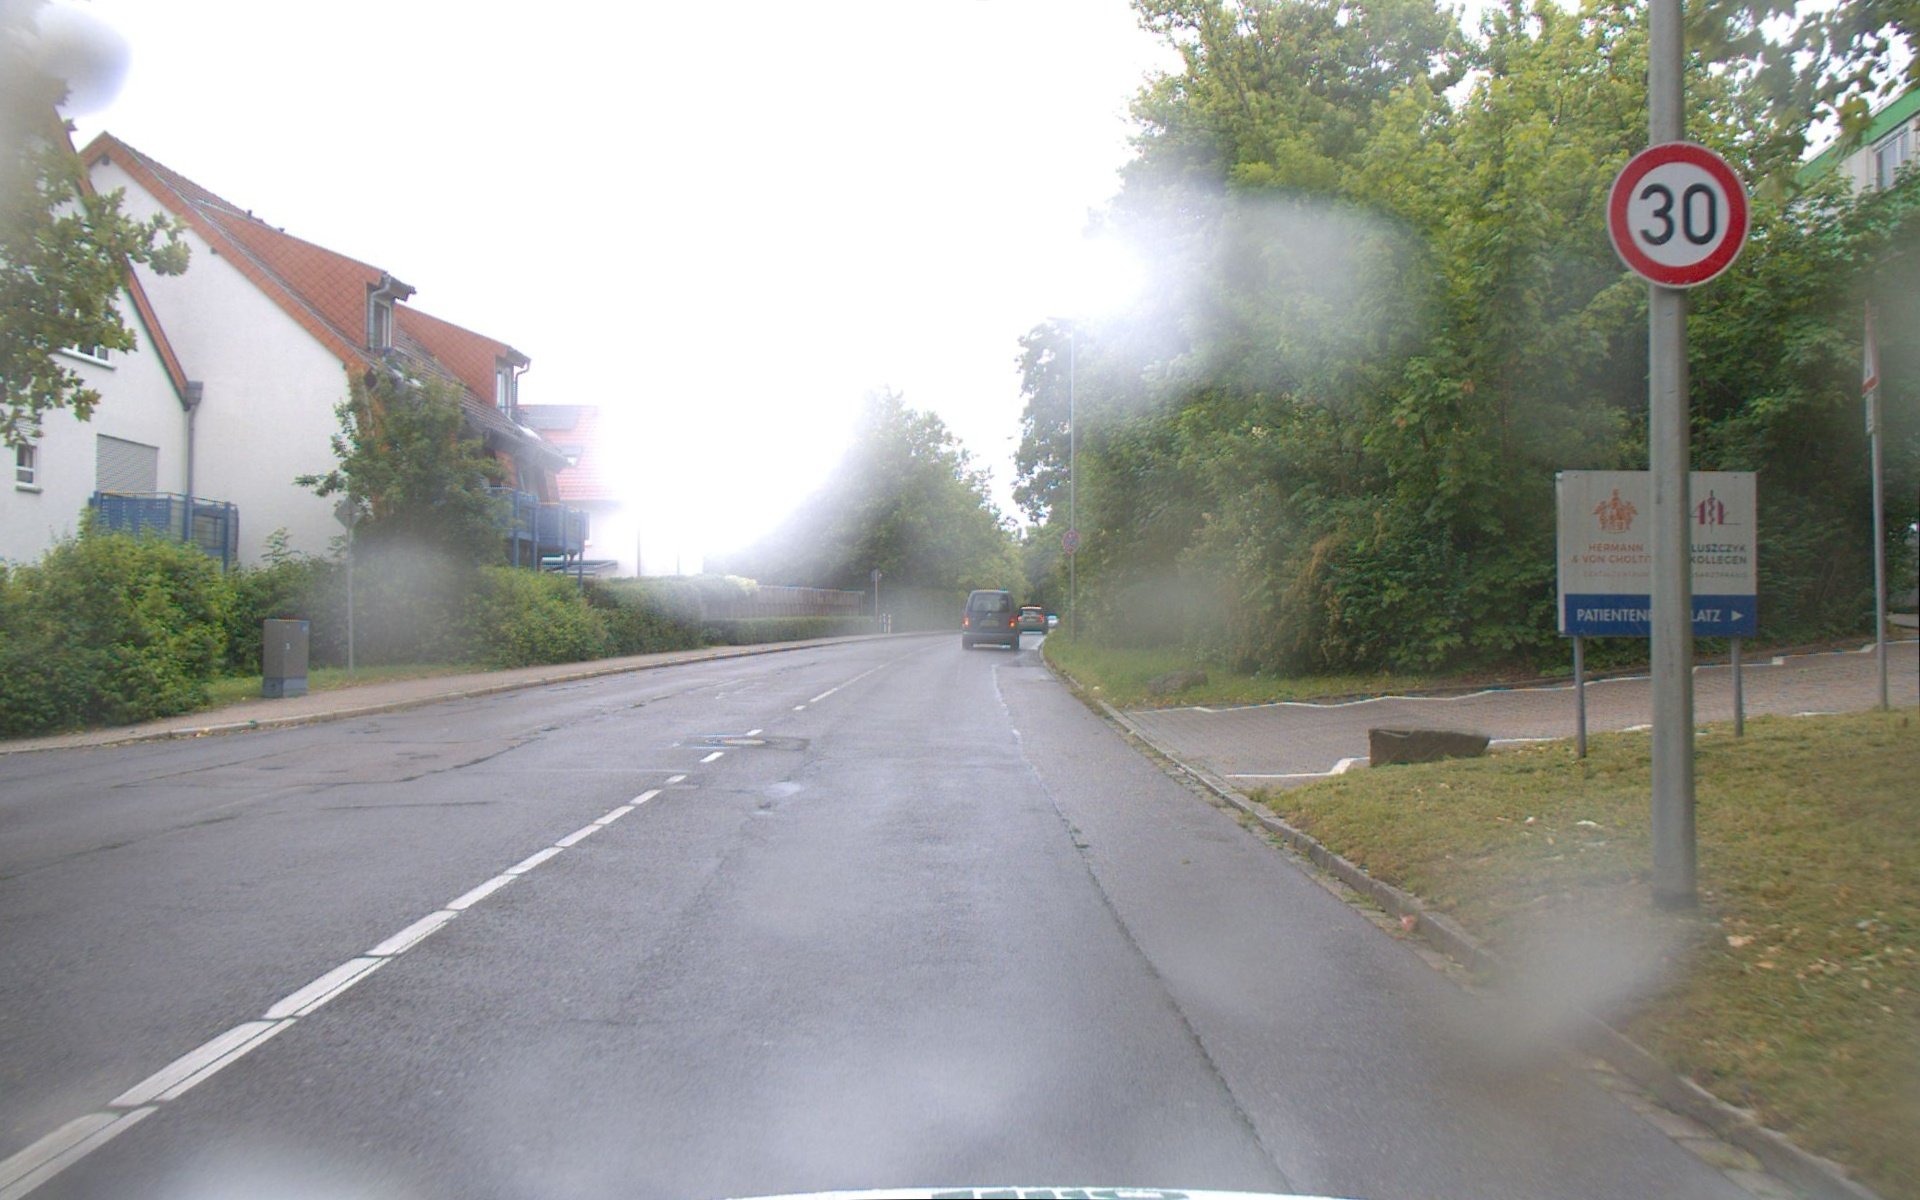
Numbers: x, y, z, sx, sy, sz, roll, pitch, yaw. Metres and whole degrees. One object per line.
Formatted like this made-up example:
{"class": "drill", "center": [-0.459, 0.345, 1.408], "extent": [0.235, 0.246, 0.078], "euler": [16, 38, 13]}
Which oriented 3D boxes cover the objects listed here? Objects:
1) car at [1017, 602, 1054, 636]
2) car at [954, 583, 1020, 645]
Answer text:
{"class": "car", "center": [4.145, 0.997, 90.159], "extent": [1.909, 1.780, 4.002], "euler": [0, 0, 4]}
{"class": "car", "center": [0.862, 0.422, 52.802], "extent": [1.952, 1.825, 4.001], "euler": [2, 0, 1]}
